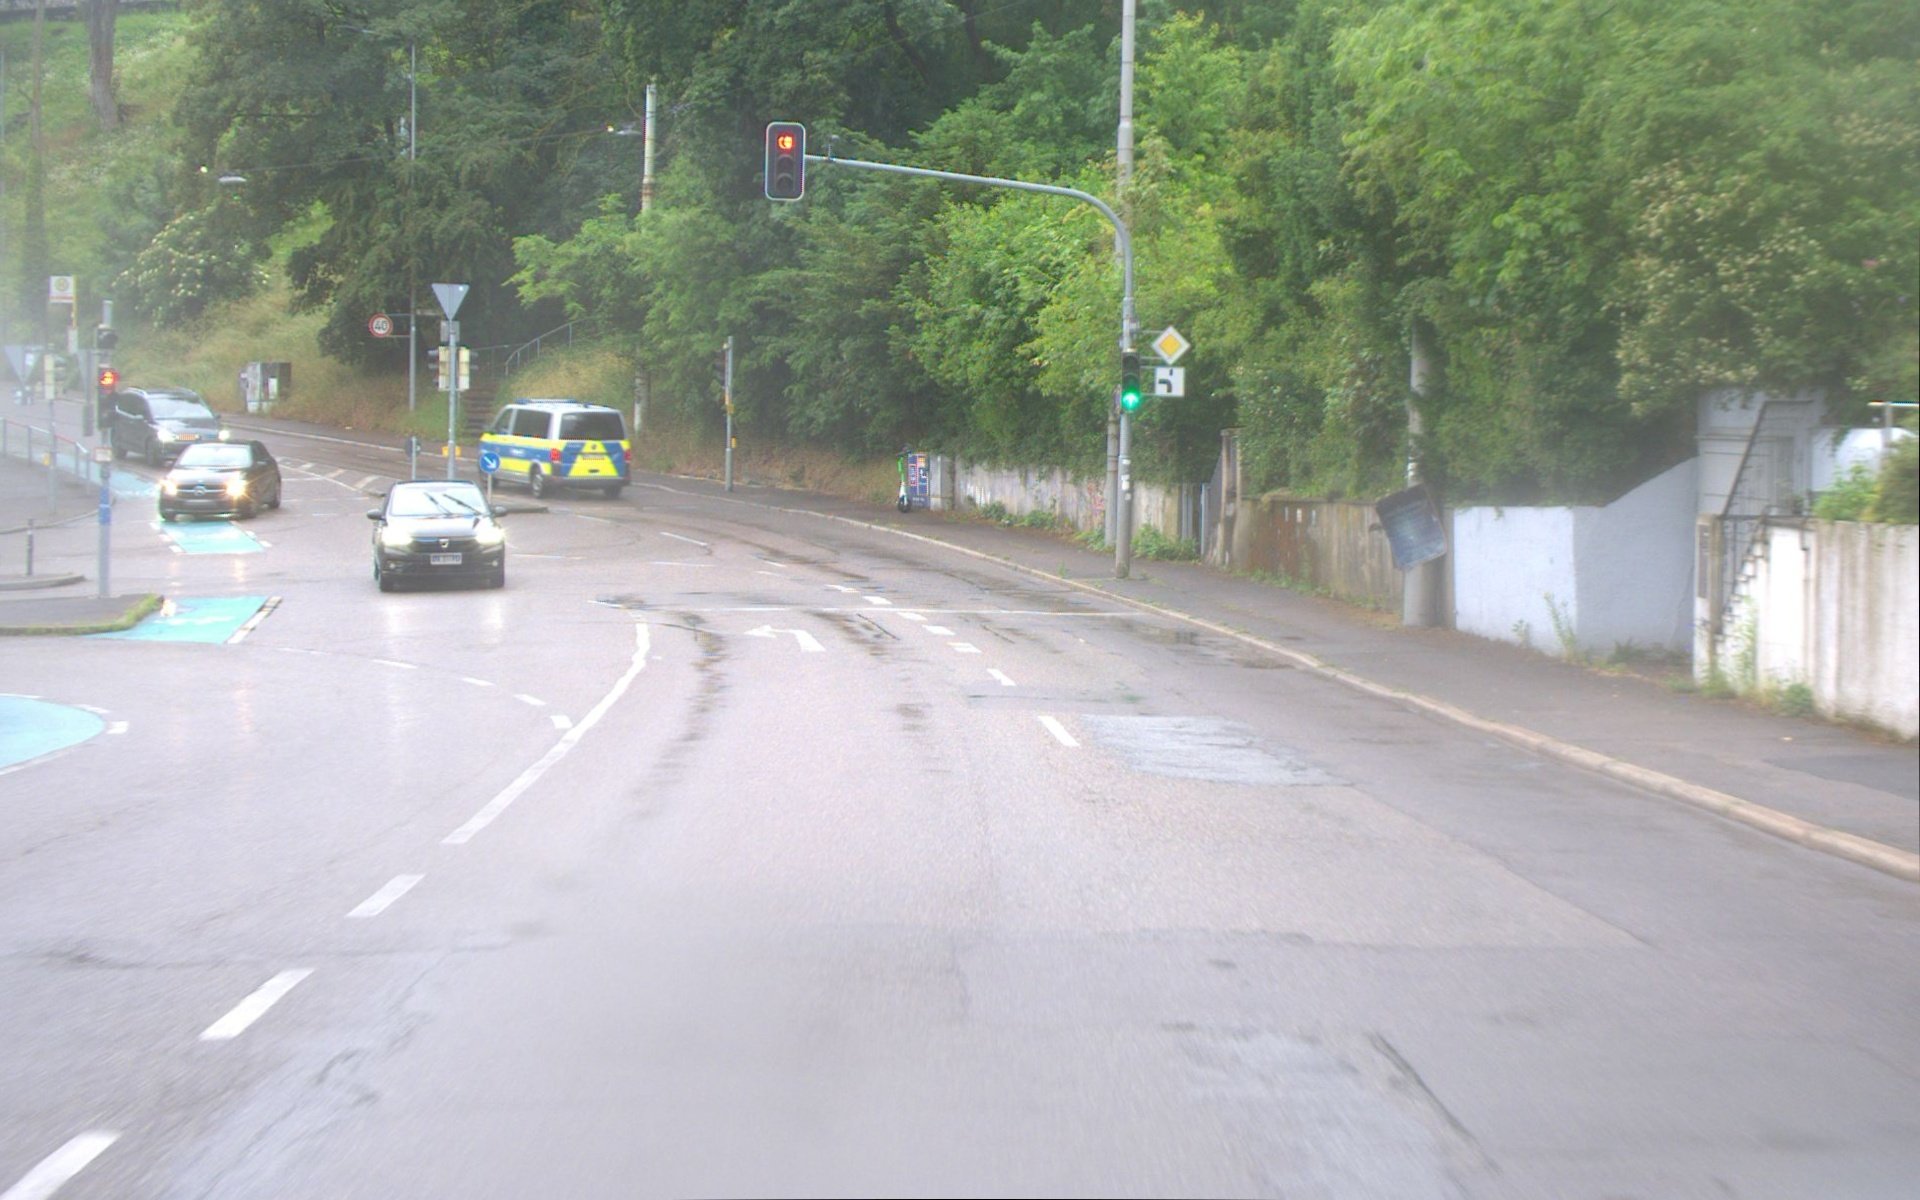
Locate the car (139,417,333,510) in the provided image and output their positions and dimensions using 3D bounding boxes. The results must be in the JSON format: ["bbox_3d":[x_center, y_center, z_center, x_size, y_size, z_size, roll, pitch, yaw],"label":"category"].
[{"bbox_3d":[-14.019,-2.674,66.801,1.743,1.544,3.997,-1,5,21],"label":"car"}]

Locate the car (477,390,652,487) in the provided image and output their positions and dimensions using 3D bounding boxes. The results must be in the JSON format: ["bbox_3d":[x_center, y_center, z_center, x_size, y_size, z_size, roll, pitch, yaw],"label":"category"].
[{"bbox_3d":[-8.464,-3.481,73.232,2.308,1.932,4.326,-3,5,-26],"label":"car"}]

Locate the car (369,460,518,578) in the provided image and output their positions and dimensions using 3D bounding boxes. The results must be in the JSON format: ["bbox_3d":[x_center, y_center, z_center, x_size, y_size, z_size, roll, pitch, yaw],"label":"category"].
[{"bbox_3d":[-7.409,-1.190,49.090,1.740,1.544,4.002,-2,3,-13],"label":"car"}]

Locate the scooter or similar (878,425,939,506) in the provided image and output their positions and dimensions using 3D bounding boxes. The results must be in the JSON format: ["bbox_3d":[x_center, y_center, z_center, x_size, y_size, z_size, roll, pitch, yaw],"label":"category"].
[{"bbox_3d":[-0.997,-2.613,66.271,0.616,1.416,2.160,-2,6,-16],"label":"scooter or similar"}]

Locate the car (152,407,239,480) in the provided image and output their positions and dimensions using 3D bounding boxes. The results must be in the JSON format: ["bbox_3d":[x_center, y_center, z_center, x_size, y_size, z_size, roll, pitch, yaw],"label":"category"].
[{"bbox_3d":[-17.822,-3.665,80.058,1.740,1.544,4.002,-2,5,-15],"label":"car"}]
